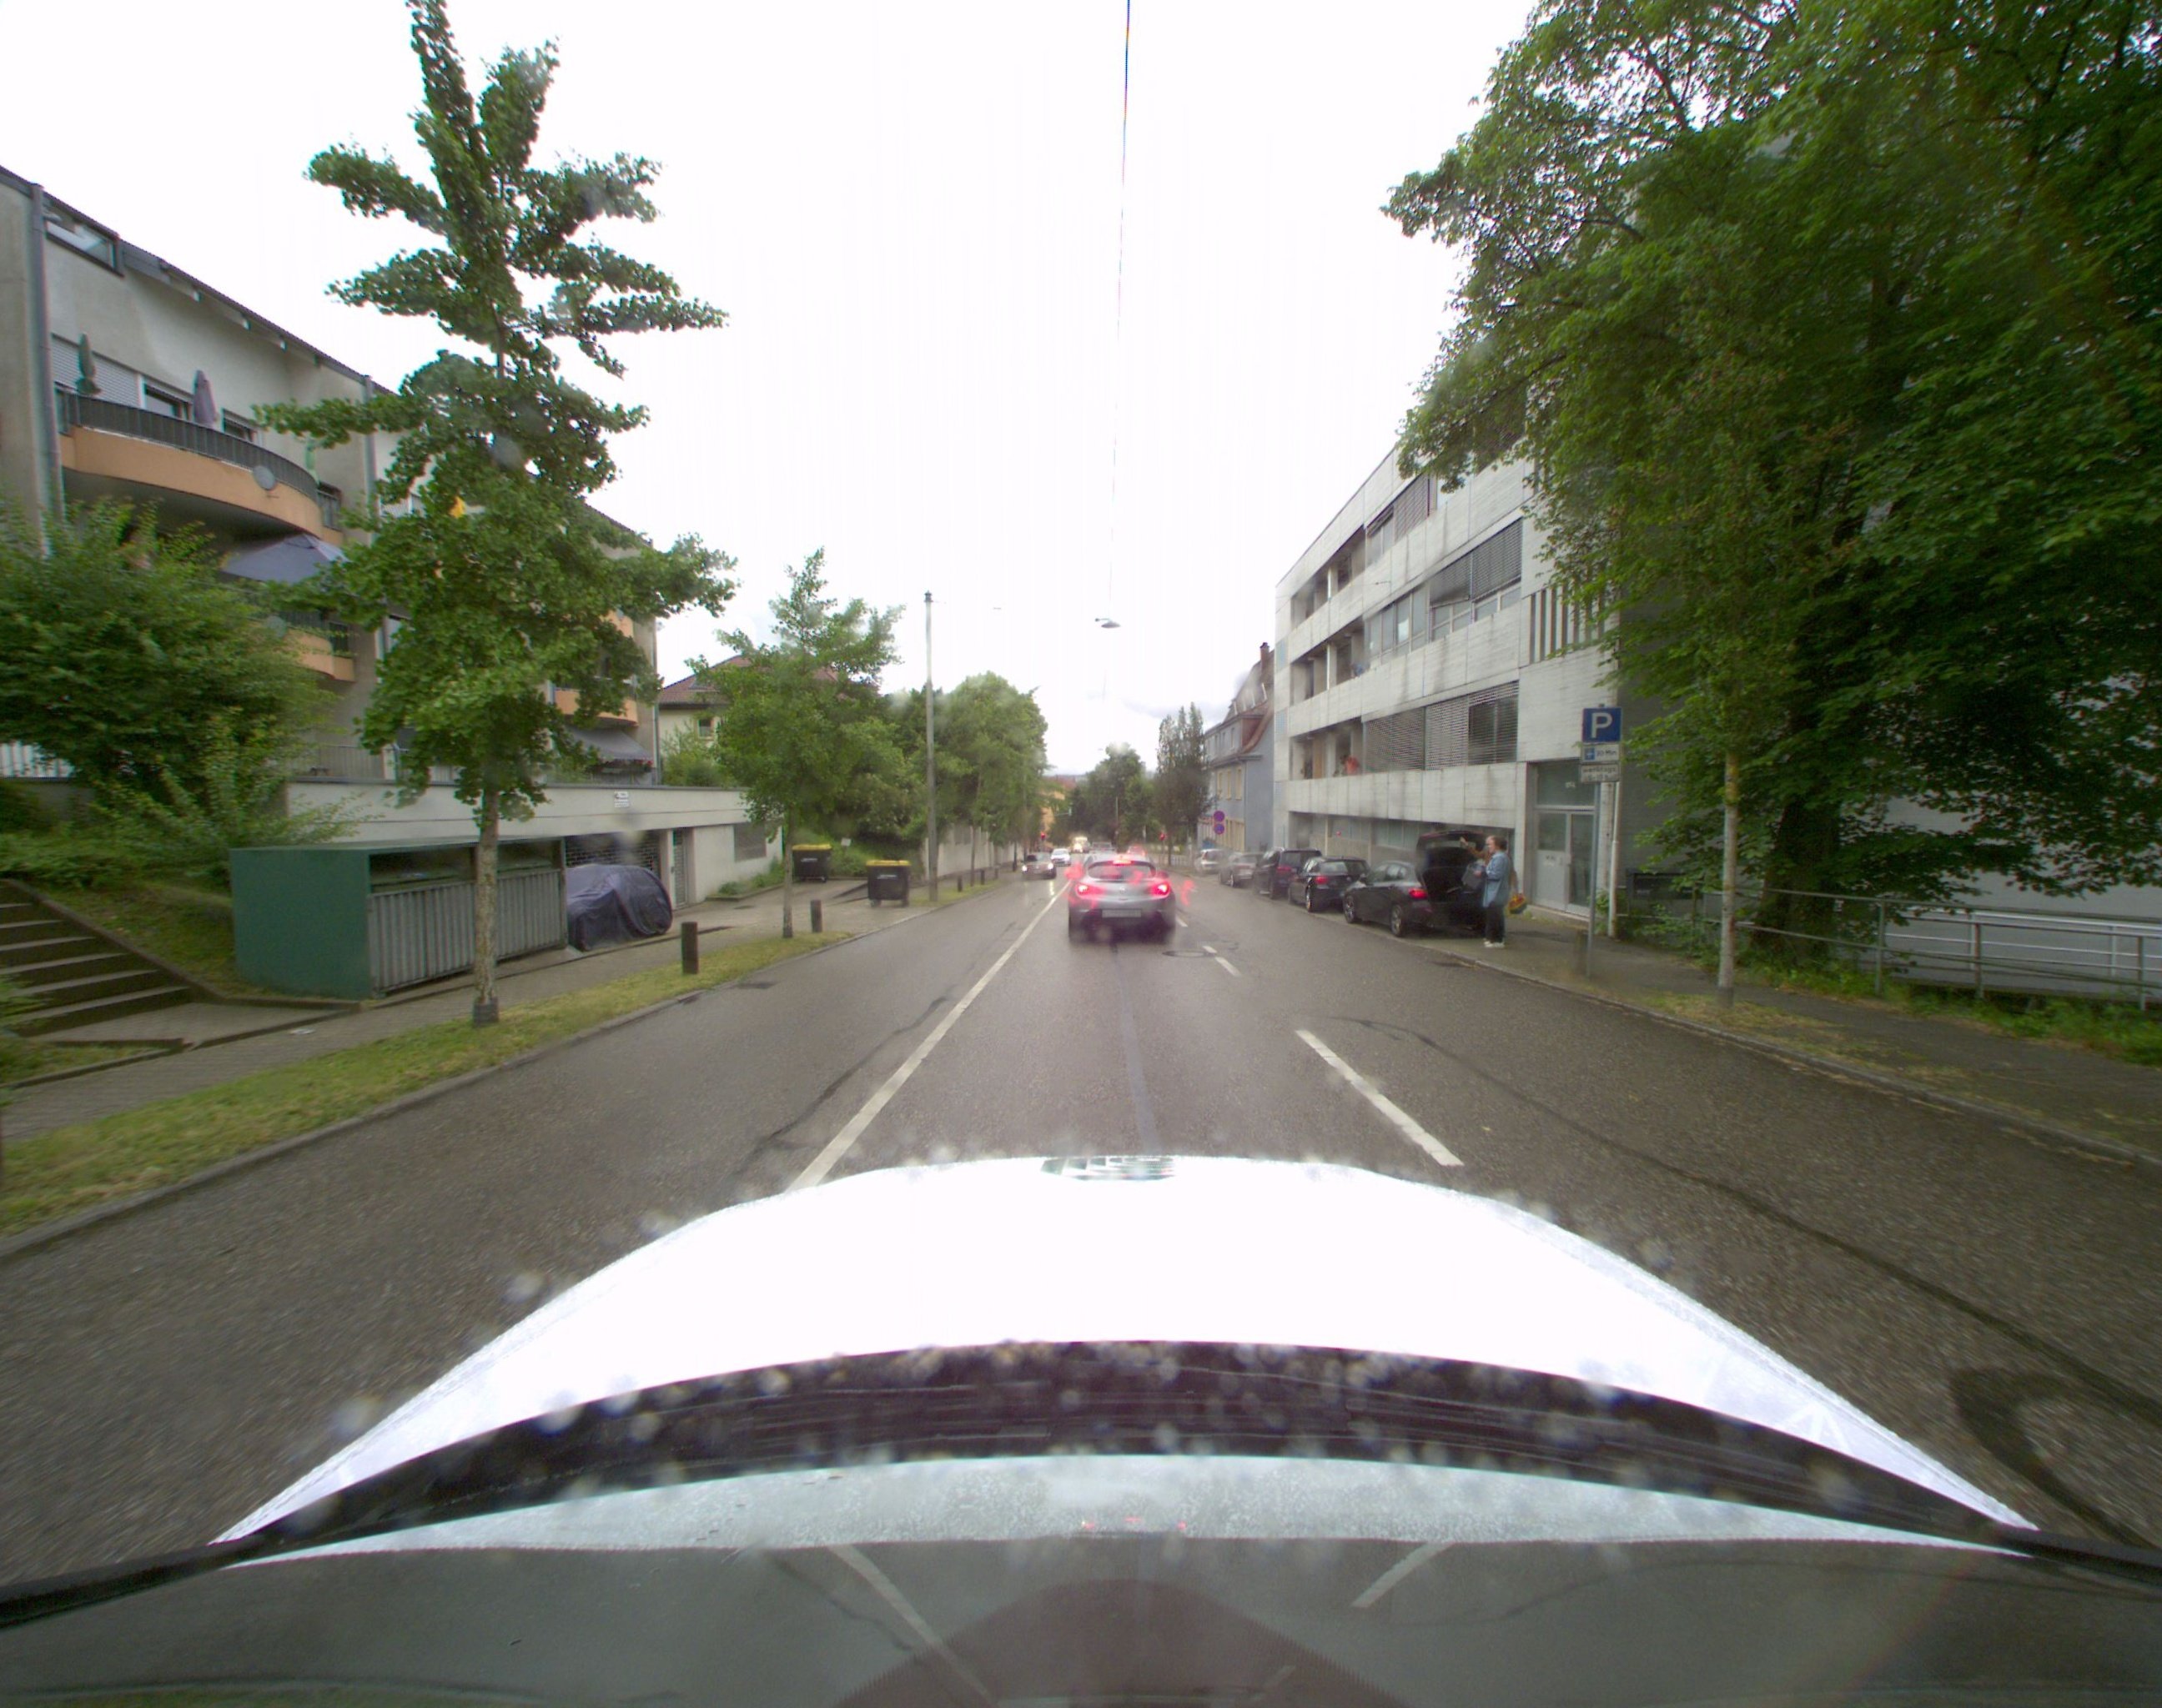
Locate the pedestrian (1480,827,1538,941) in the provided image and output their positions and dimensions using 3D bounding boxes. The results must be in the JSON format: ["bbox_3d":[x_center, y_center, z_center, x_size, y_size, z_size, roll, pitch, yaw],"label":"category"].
[{"bbox_3d":[7.226,0.489,13.750,0.657,1.836,0.693,-2,1,42],"label":"pedestrian"}]

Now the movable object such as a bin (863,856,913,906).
[{"bbox_3d":[-5.493,0.773,23.204,1.268,1.387,0.488,1,1,-2],"label":"movable object such as a bin"}]

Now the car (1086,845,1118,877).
[{"bbox_3d":[1.290,0.399,51.229,1.763,1.781,3.975,3,1,-1],"label":"car"}]

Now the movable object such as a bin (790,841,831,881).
[{"bbox_3d":[-9.554,0.232,28.781,1.268,1.387,0.488,1,1,-2],"label":"movable object such as a bin"}]

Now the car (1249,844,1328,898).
[{"bbox_3d":[6.737,0.488,26.802,1.679,1.570,4.003,-1,1,2],"label":"car"}]

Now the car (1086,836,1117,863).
[{"bbox_3d":[1.714,-0.399,67.659,2.325,2.036,4.737,3,1,1],"label":"car"}]

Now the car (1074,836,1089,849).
[{"bbox_3d":[0.066,-1.676,121.055,1.986,1.784,4.002,3,1,2],"label":"car"}]

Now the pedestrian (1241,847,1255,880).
[{"bbox_3d":[9.042,0.502,44.081,0.643,1.784,0.542,0,1,1],"label":"pedestrian"}]

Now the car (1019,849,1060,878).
[{"bbox_3d":[-2.262,0.491,45.448,1.843,1.469,4.089,-3,0,2],"label":"car"}]

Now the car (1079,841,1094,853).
[{"bbox_3d":[0.771,-0.972,113.871,1.986,1.536,4.311,3,1,1],"label":"car"}]

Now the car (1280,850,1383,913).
[{"bbox_3d":[6.662,0.663,22.090,1.675,1.464,4.003,-1,1,2],"label":"car"}]

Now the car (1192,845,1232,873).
[{"bbox_3d":[7.852,0.259,49.160,1.899,1.570,4.003,-1,1,2],"label":"car"}]

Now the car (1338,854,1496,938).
[{"bbox_3d":[6.562,0.746,16.356,1.499,1.435,3.999,-1,0,0],"label":"car"}]

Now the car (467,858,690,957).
[{"bbox_3d":[-9.173,0.893,15.297,1.737,1.456,3.882,-4,0,-1],"label":"car"}]

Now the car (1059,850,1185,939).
[{"bbox_3d":[0.616,0.646,15.133,1.941,1.432,3.880,0,0,-3],"label":"car"}]

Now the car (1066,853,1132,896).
[{"bbox_3d":[0.523,0.633,26.958,1.794,1.323,3.994,1,0,-4],"label":"car"}]

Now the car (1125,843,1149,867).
[{"bbox_3d":[5.219,0.083,76.354,1.986,2.036,4.737,3,1,1],"label":"car"}]

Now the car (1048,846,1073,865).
[{"bbox_3d":[-1.762,0.130,71.100,1.816,1.479,3.865,-4,1,2],"label":"car"}]

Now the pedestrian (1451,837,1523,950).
[{"bbox_3d":[6.563,0.610,13.153,0.769,1.723,0.729,-3,1,-38],"label":"pedestrian"}]

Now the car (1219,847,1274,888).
[{"bbox_3d":[6.894,0.517,34.327,1.578,1.493,4.292,-1,1,2],"label":"car"}]
